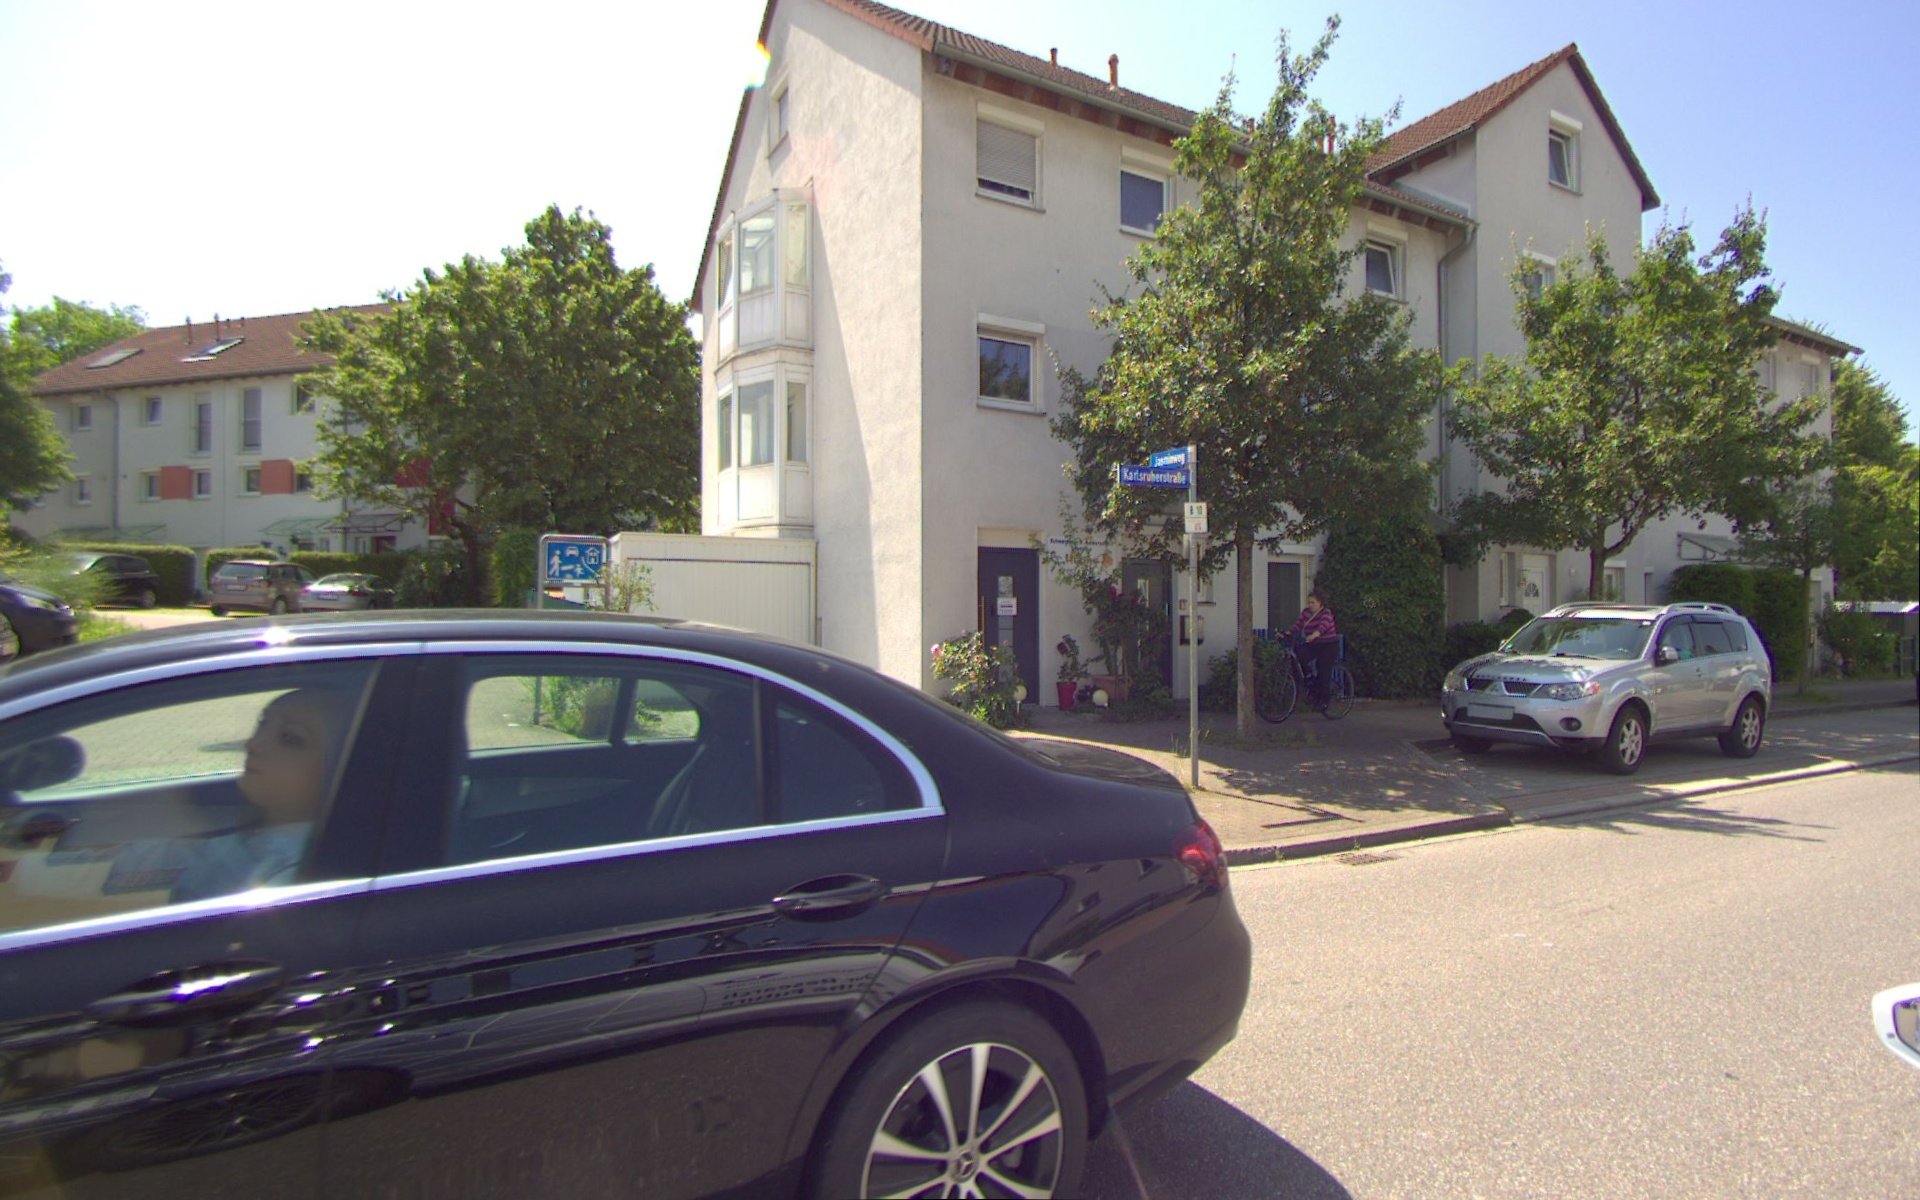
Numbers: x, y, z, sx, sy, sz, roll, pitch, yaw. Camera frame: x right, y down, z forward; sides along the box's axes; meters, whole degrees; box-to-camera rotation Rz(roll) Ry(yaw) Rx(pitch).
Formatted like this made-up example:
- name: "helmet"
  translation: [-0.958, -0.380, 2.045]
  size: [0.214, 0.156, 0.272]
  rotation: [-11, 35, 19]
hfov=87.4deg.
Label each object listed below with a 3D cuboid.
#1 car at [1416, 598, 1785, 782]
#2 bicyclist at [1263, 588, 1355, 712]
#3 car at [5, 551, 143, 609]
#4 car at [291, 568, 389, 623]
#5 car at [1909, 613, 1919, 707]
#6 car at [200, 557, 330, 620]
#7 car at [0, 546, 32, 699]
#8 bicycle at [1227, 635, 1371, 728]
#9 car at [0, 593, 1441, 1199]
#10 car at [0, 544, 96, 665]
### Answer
- name: "car"
  translation: [7.258, 0.869, 11.250]
  size: [4.474, 1.709, 1.697]
  rotation: [1, 0, -31]
- name: "bicyclist"
  translation: [4.481, 0.625, 12.904]
  size: [0.900, 1.514, 0.654]
  rotation: [1, 2, -34]
- name: "car"
  translation: [-24.425, -0.531, 27.833]
  size: [1.567, 1.471, 3.623]
  rotation: [1, 0, -19]
- name: "car"
  translation: [-17.783, -0.149, 28.974]
  size: [1.667, 1.447, 3.980]
  rotation: [1, 1, -21]
- name: "car"
  translation: [18.949, 1.084, 18.067]
  size: [3.949, 1.641, 1.684]
  rotation: [1, 0, -30]
- name: "car"
  translation: [-19.933, -0.339, 28.995]
  size: [1.720, 1.645, 3.988]
  rotation: [2, 1, -14]
- name: "car"
  translation: [-12.920, 0.228, 11.175]
  size: [3.465, 1.804, 1.617]
  rotation: [1, 1, -27]
- name: "bicycle"
  translation: [4.348, 1.000, 12.832]
  size: [2.005, 1.070, 0.667]
  rotation: [1, 0, -34]
- name: "car"
  translation: [-1.100, 0.764, 2.306]
  size: [4.640, 1.479, 1.722]
  rotation: [1, -2, -31]
- name: "car"
  translation: [-15.643, 0.018, 15.247]
  size: [3.506, 1.805, 1.617]
  rotation: [1, 1, -27]
